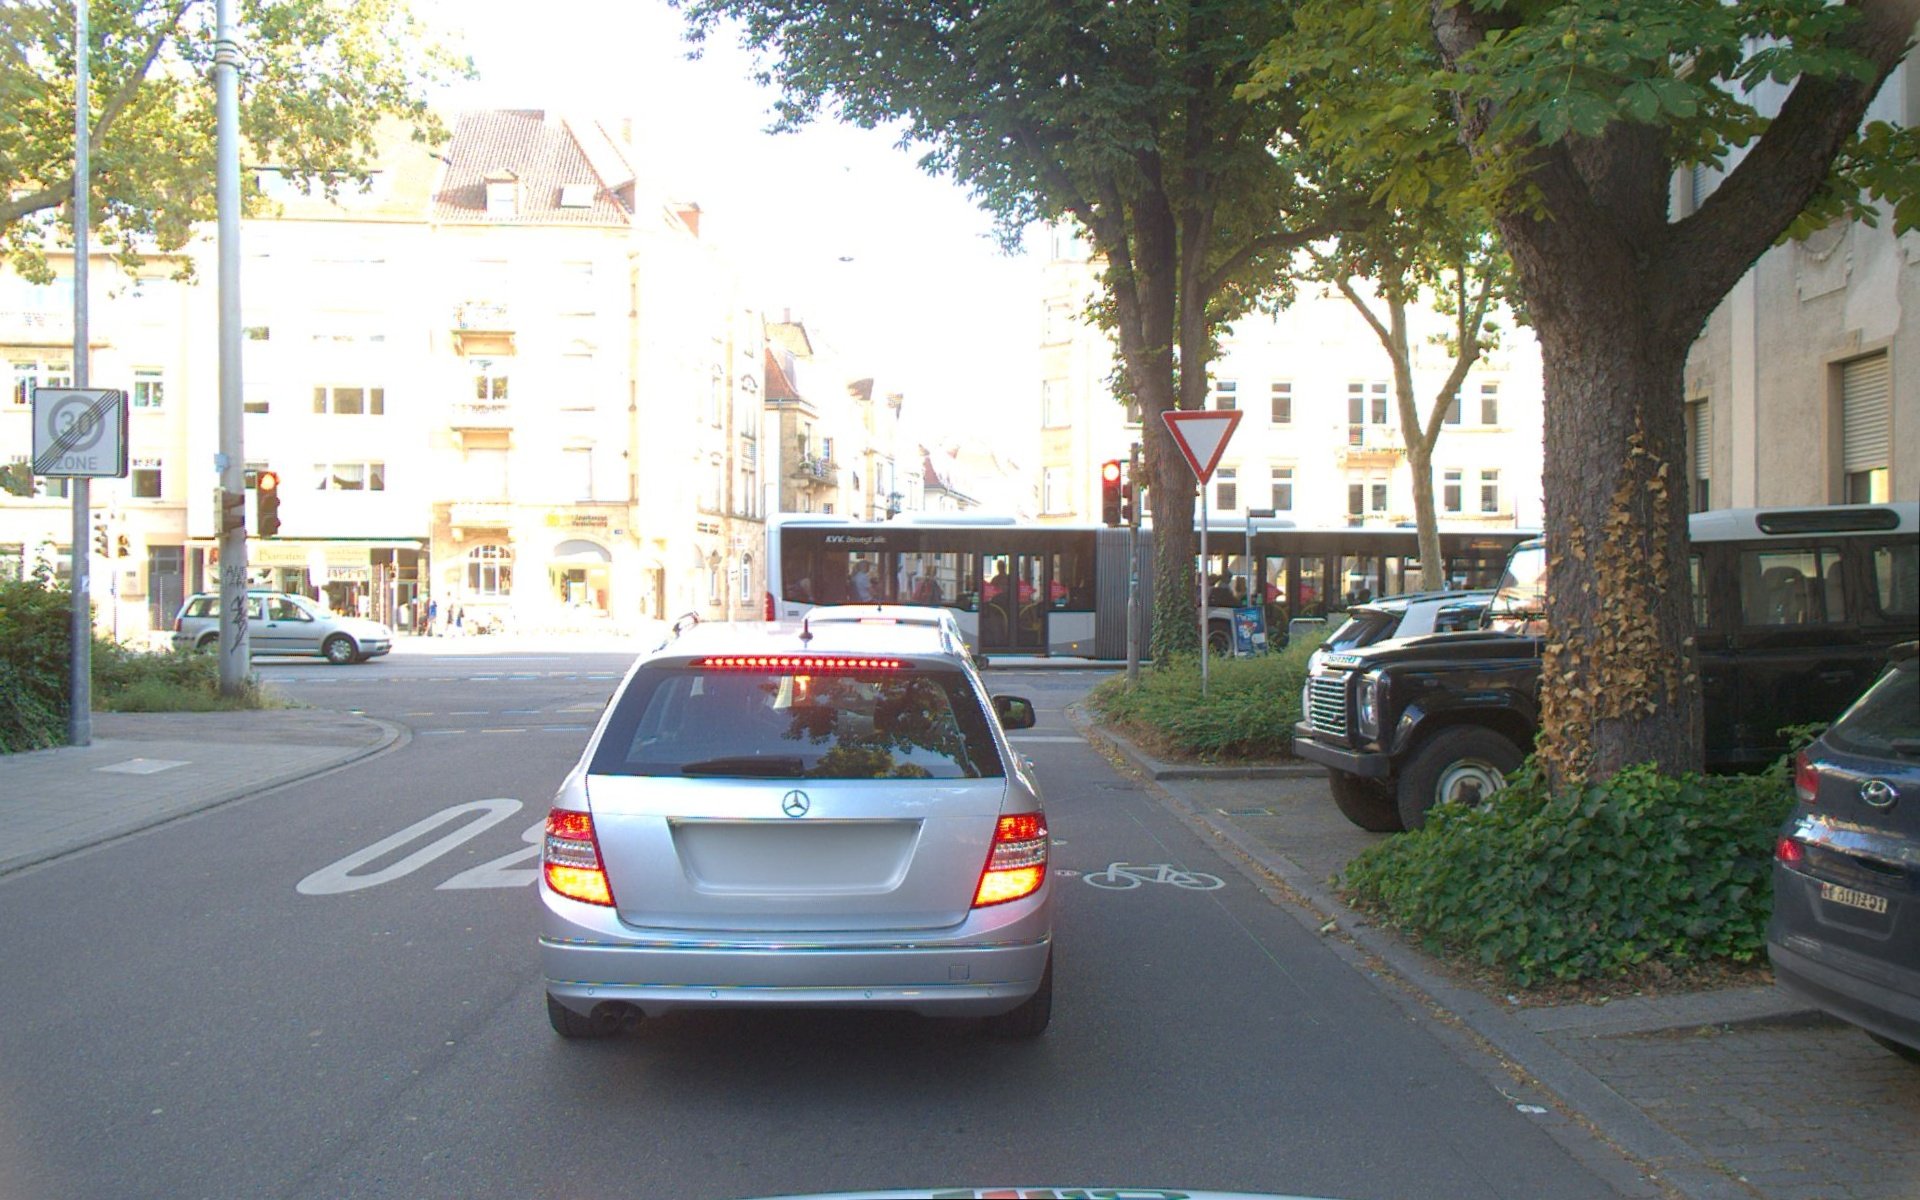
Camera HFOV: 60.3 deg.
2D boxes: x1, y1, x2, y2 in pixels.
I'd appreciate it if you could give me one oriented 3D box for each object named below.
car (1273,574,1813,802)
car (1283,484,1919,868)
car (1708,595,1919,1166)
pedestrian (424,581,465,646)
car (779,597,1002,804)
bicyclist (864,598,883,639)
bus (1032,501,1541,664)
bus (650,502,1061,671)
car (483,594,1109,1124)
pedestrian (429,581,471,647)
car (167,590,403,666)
[{"bbox_3d":[4.516,0.650,13.137,3.650,1.597,1.707,-1,0,-4],"label":"car"},{"bbox_3d":[4.375,0.404,10.169,4.377,2.072,1.699,-1,0,-4],"label":"car"},{"bbox_3d":[4.289,0.694,4.590,3.650,1.477,1.707,-1,0,-4],"label":"car"},{"bbox_3d":[-20.218,0.524,64.929,1.320,2.507,1.059,0,0,-5],"label":"pedestrian"},{"bbox_3d":[-0.585,0.720,14.018,1.587,1.472,4.342,1,0,-2],"label":"car"},{"bbox_3d":[-3.036,0.641,58.081,0.631,1.451,0.636,0,0,-6],"label":"bicyclist"},{"bbox_3d":[6.852,-0.400,35.201,10.258,3.257,2.906,-1,0,-9],"label":"bus"},{"bbox_3d":[-2.160,-0.302,33.757,8.024,3.257,2.906,-1,0,-9],"label":"bus"},{"bbox_3d":[-0.546,0.732,6.929,1.741,1.477,4.546,1,0,-2],"label":"car"},{"bbox_3d":[-19.606,0.519,63.556,1.320,2.507,1.059,0,0,-5],"label":"pedestrian"},{"bbox_3d":[-14.046,0.564,34.624,4.263,1.523,1.659,0,0,-7],"label":"car"}]
